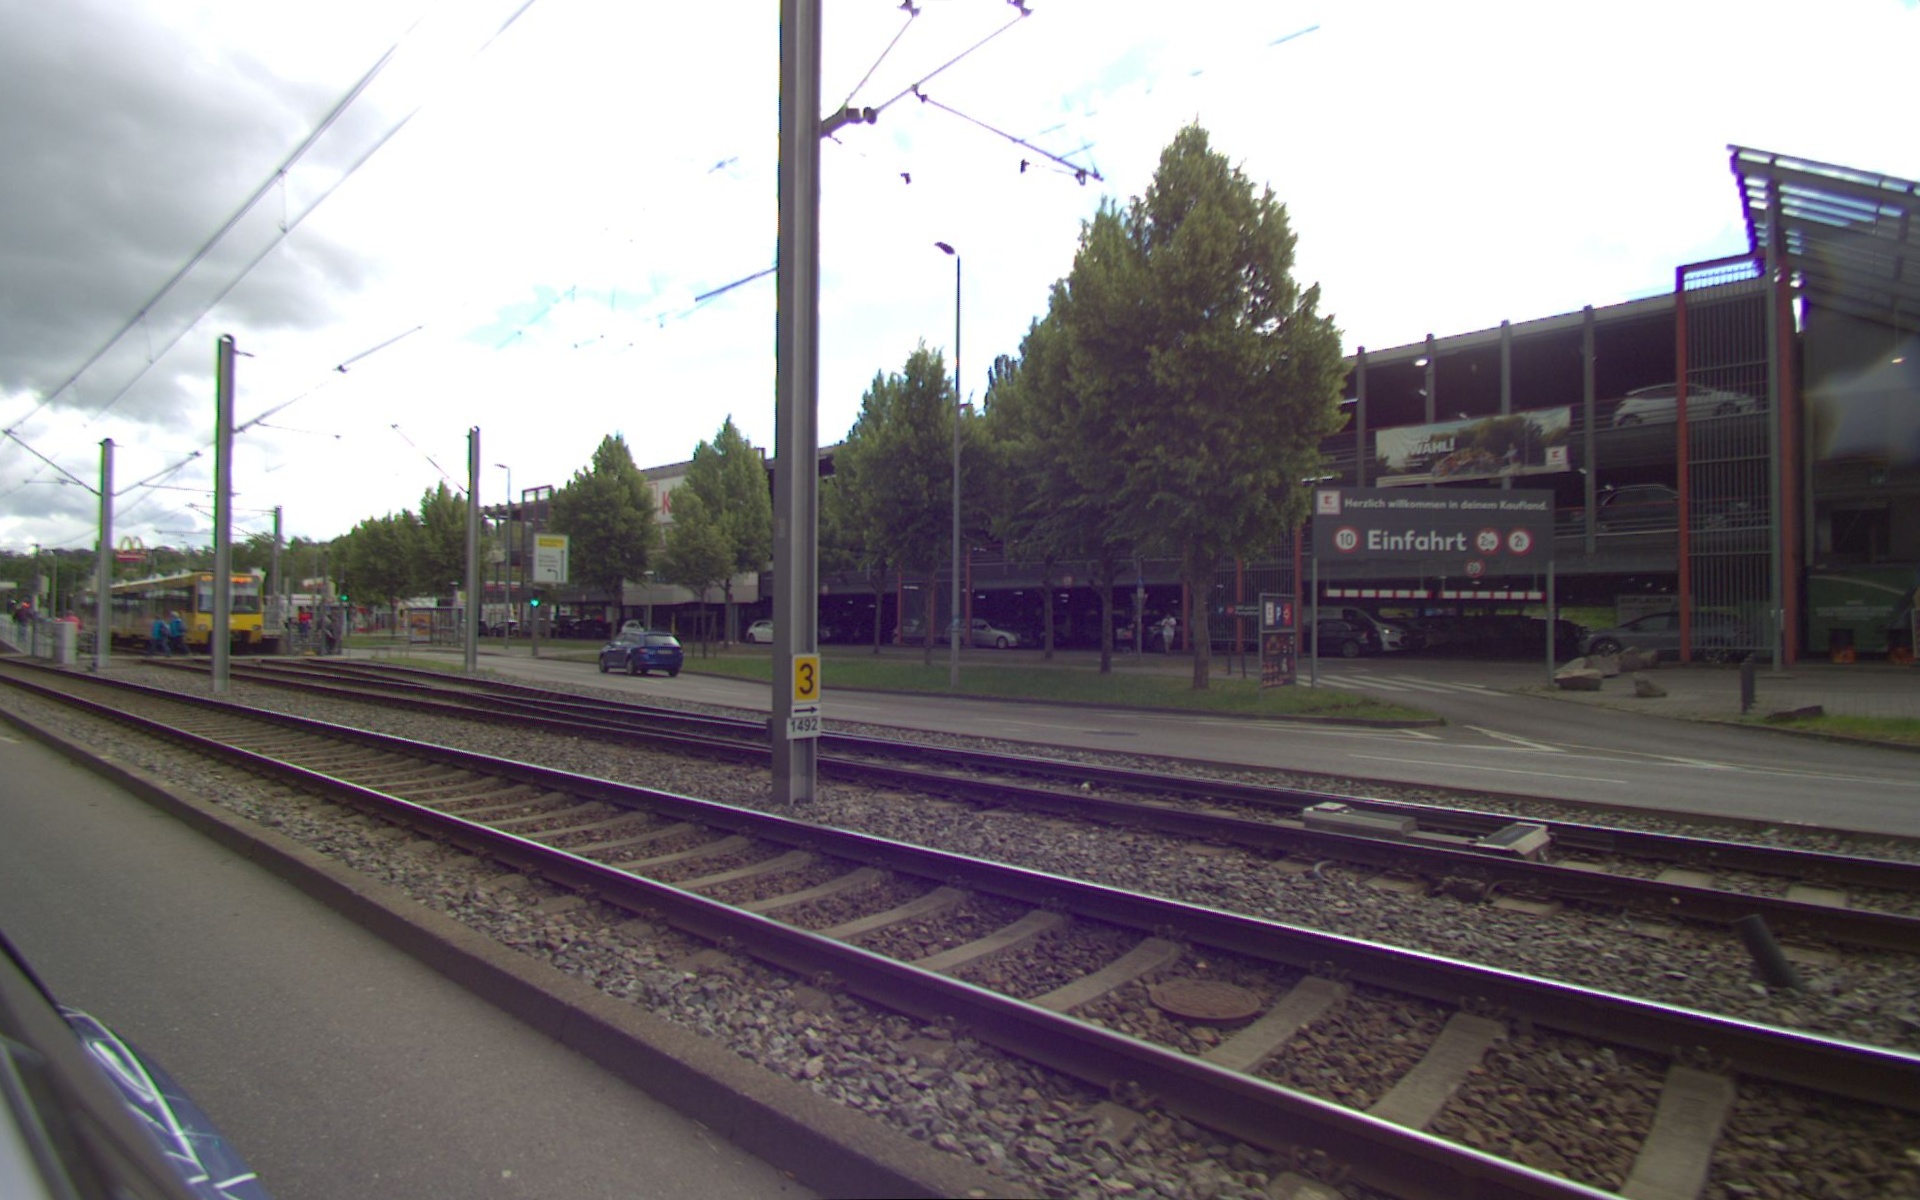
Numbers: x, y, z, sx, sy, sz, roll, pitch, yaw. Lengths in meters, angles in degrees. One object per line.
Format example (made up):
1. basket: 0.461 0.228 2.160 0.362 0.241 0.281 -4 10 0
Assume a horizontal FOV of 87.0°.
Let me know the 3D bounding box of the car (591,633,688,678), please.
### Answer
1. car: -10.786 1.829 33.974 1.640 1.403 3.722 1 -2 -44

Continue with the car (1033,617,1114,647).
1. car: 6.097 1.696 54.691 4.051 1.528 1.821 -1 -4 41

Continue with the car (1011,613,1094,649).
1. car: 4.833 1.615 52.965 4.051 1.828 1.822 -1 -2 41

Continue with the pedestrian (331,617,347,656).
1. pedestrian: -27.364 1.603 44.586 0.510 1.675 0.466 4 -4 -38

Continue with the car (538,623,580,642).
1. car: -33.155 2.693 83.626 3.794 1.526 1.705 -1 -4 42

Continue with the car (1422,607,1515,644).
1. car: 26.187 1.315 52.172 3.996 1.876 1.770 -1 -2 40

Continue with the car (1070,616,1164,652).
1. car: 6.633 1.423 42.928 3.673 1.487 1.656 -1 -2 42

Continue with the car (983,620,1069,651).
1. car: 3.279 1.788 51.038 4.051 1.443 1.821 -1 -4 41

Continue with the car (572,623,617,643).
1. car: -28.991 2.637 80.229 3.794 1.526 1.705 -1 -4 42

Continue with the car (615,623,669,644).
1. car: -22.167 2.320 70.477 4.000 1.409 1.759 -1 -4 43

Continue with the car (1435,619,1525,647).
1. car: 27.610 1.740 53.802 3.996 1.400 1.770 -1 -2 40

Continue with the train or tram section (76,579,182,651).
1. train or tram section: -51.678 1.043 62.578 18.632 3.912 2.726 -2 -2 43

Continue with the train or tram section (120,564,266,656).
1. train or tram section: -38.112 0.657 49.768 18.632 3.858 2.726 -2 -2 43

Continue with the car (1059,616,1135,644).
1. car: 7.701 1.679 57.034 3.888 1.528 1.822 -1 -2 41

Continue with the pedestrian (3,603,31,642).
1. pedestrian: -41.816 1.020 44.862 0.790 1.691 0.763 -1 -4 41

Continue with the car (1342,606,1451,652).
1. car: 18.702 1.237 43.442 3.996 1.901 1.770 -1 -2 40

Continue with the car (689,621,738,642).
1. car: -18.832 2.406 77.313 3.868 1.526 1.736 -1 -2 42

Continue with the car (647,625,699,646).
1. car: -20.473 2.544 72.114 4.000 1.414 1.759 -1 -4 43

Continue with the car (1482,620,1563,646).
1. car: 33.578 1.926 60.415 3.997 1.400 1.770 1 -1 40

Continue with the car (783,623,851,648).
1. car: -8.835 2.148 62.225 4.196 1.443 1.821 -1 -4 41

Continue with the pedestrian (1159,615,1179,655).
1. pedestrian: 8.123 1.360 39.376 0.614 1.518 0.416 -2 -2 42

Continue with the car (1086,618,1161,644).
1. car: 9.454 1.792 58.668 3.999 1.453 1.795 -1 -4 42

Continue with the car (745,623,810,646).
1. car: -10.826 2.011 60.046 4.069 1.334 1.619 -1 -2 41

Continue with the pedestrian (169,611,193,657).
1. pedestrian: -29.825 1.307 38.760 0.646 1.711 0.730 4 -4 -38

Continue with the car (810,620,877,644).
1. car: -7.400 2.006 63.995 4.196 1.443 1.821 -1 -4 41

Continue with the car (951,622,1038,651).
1. car: 1.637 1.736 48.853 4.069 1.315 1.619 -1 -2 41

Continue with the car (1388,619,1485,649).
1. car: 23.137 1.628 49.202 3.996 1.400 1.770 -1 -2 40

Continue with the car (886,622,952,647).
1. car: -2.154 1.768 52.399 3.474 1.233 1.422 -1 -2 43

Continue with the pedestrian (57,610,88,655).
1. pedestrian: -33.298 1.220 37.973 0.604 1.666 0.798 3 -3 -27

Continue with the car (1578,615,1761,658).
1. car: 21.609 1.095 30.939 4.448 1.236 1.421 -1 -2 41

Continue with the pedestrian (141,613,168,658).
1. pedestrian: -29.874 1.324 37.555 0.703 1.623 0.943 4 -4 -38

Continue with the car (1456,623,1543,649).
1. car: 30.069 2.000 56.429 3.996 1.400 1.770 -1 -2 40

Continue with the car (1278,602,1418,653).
1. car: 15.239 1.064 39.927 4.866 1.902 1.656 -1 -2 42

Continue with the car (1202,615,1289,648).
1. car: 13.573 1.494 48.206 3.673 1.487 1.656 -1 -2 42

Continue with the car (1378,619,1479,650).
1. car: 21.850 1.580 47.258 3.996 1.400 1.770 -1 -2 40

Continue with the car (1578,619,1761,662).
1. car: 21.605 1.197 30.944 4.448 1.236 1.439 -1 -2 41

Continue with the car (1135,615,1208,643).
1. car: 13.023 1.781 62.400 3.999 1.587 1.795 -1 -4 42

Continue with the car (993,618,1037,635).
1. car: 4.182 2.023 76.902 3.216 1.233 1.423 -1 -2 42

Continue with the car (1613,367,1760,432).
1. car: 22.085 -6.044 30.826 3.504 1.236 1.439 -1 -2 41
